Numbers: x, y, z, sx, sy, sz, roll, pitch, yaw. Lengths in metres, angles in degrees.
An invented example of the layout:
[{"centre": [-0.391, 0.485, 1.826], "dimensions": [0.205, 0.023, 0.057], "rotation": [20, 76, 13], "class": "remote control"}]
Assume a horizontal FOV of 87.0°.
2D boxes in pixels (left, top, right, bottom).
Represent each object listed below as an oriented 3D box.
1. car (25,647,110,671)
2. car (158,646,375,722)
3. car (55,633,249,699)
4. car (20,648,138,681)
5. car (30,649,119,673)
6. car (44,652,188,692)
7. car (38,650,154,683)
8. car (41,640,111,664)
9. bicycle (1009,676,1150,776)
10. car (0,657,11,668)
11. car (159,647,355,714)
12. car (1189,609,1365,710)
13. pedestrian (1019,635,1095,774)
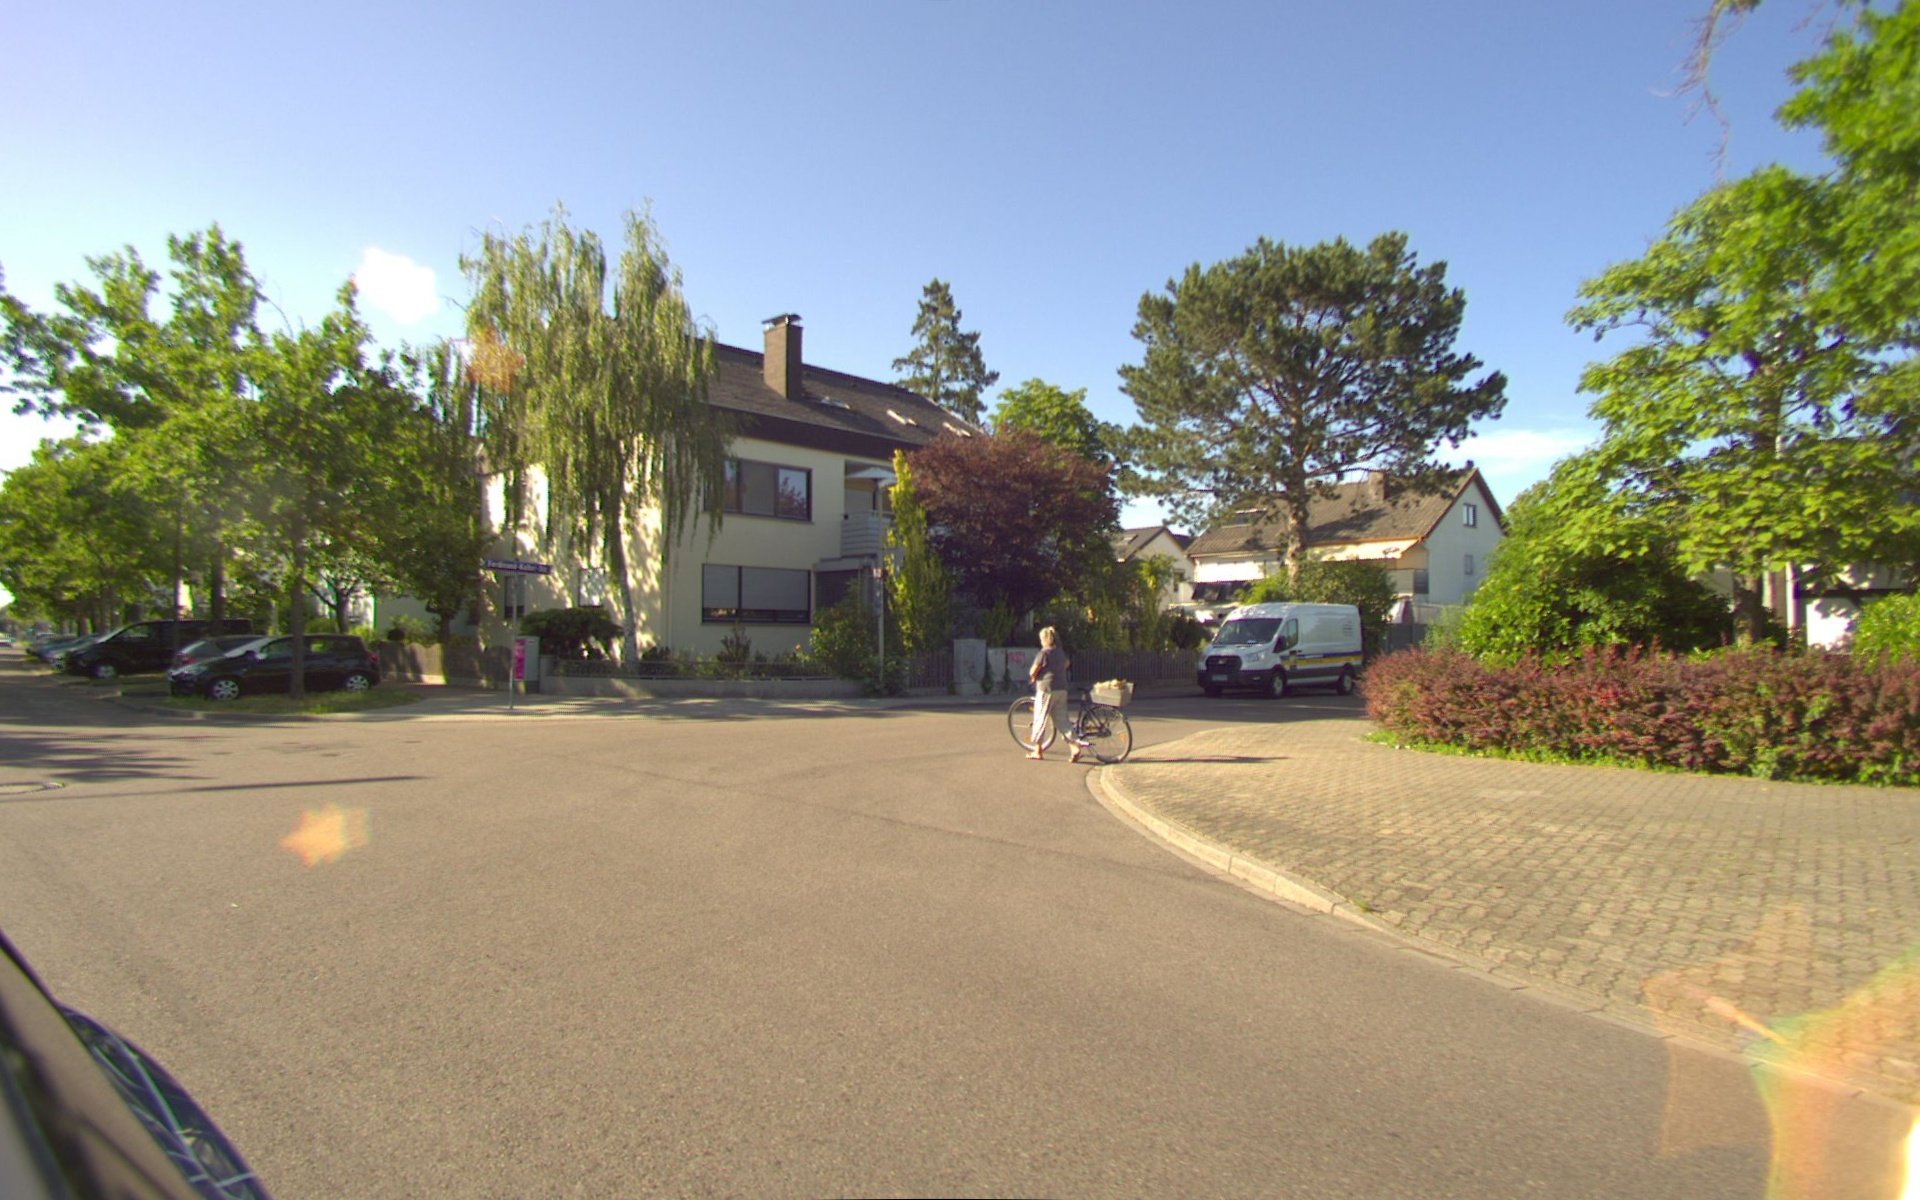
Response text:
[{"centre": [-58.930, 3.874, 66.903], "dimensions": [4.136, 1.579, 1.794], "rotation": [2, -4, -42], "class": "car"}, {"centre": [-15.504, 1.813, 22.743], "dimensions": [3.813, 1.470, 1.714], "rotation": [1, -3, -45], "class": "car"}, {"centre": [-26.288, 2.096, 33.038], "dimensions": [2.019, 1.931, 4.726], "rotation": [-3, -3, 43], "class": "car"}, {"centre": [-45.397, 3.298, 52.238], "dimensions": [4.469, 1.643, 1.939], "rotation": [3, -4, -43], "class": "car"}, {"centre": [-55.083, 3.799, 62.992], "dimensions": [1.811, 1.434, 3.987], "rotation": [-3, -4, 45], "class": "car"}, {"centre": [-33.398, 2.799, 40.105], "dimensions": [4.226, 1.489, 1.770], "rotation": [3, -4, -44], "class": "car"}, {"centre": [-41.900, 3.195, 49.143], "dimensions": [4.134, 1.503, 1.648], "rotation": [3, -4, -45], "class": "car"}, {"centre": [-73.357, 4.324, 83.998], "dimensions": [2.001, 1.959, 4.188], "rotation": [-2, -4, 44], "class": "car"}, {"centre": [1.402, 1.475, 12.194], "dimensions": [0.441, 1.047, 1.895], "rotation": [2, -3, -40], "class": "bicycle"}, {"centre": [-131.170, 8.517, 138.210], "dimensions": [1.915, 1.431, 4.007], "rotation": [2, -3, -39], "class": "car"}, {"centre": [-17.478, 1.951, 25.269], "dimensions": [1.772, 1.430, 3.776], "rotation": [-3, -2, 43], "class": "car"}, {"centre": [8.409, 1.505, 26.523], "dimensions": [5.550, 2.367, 2.002], "rotation": [2, -3, -44], "class": "car"}, {"centre": [1.143, 1.199, 11.926], "dimensions": [0.801, 1.569, 0.436], "rotation": [-2, -3, 44], "class": "pedestrian"}]
